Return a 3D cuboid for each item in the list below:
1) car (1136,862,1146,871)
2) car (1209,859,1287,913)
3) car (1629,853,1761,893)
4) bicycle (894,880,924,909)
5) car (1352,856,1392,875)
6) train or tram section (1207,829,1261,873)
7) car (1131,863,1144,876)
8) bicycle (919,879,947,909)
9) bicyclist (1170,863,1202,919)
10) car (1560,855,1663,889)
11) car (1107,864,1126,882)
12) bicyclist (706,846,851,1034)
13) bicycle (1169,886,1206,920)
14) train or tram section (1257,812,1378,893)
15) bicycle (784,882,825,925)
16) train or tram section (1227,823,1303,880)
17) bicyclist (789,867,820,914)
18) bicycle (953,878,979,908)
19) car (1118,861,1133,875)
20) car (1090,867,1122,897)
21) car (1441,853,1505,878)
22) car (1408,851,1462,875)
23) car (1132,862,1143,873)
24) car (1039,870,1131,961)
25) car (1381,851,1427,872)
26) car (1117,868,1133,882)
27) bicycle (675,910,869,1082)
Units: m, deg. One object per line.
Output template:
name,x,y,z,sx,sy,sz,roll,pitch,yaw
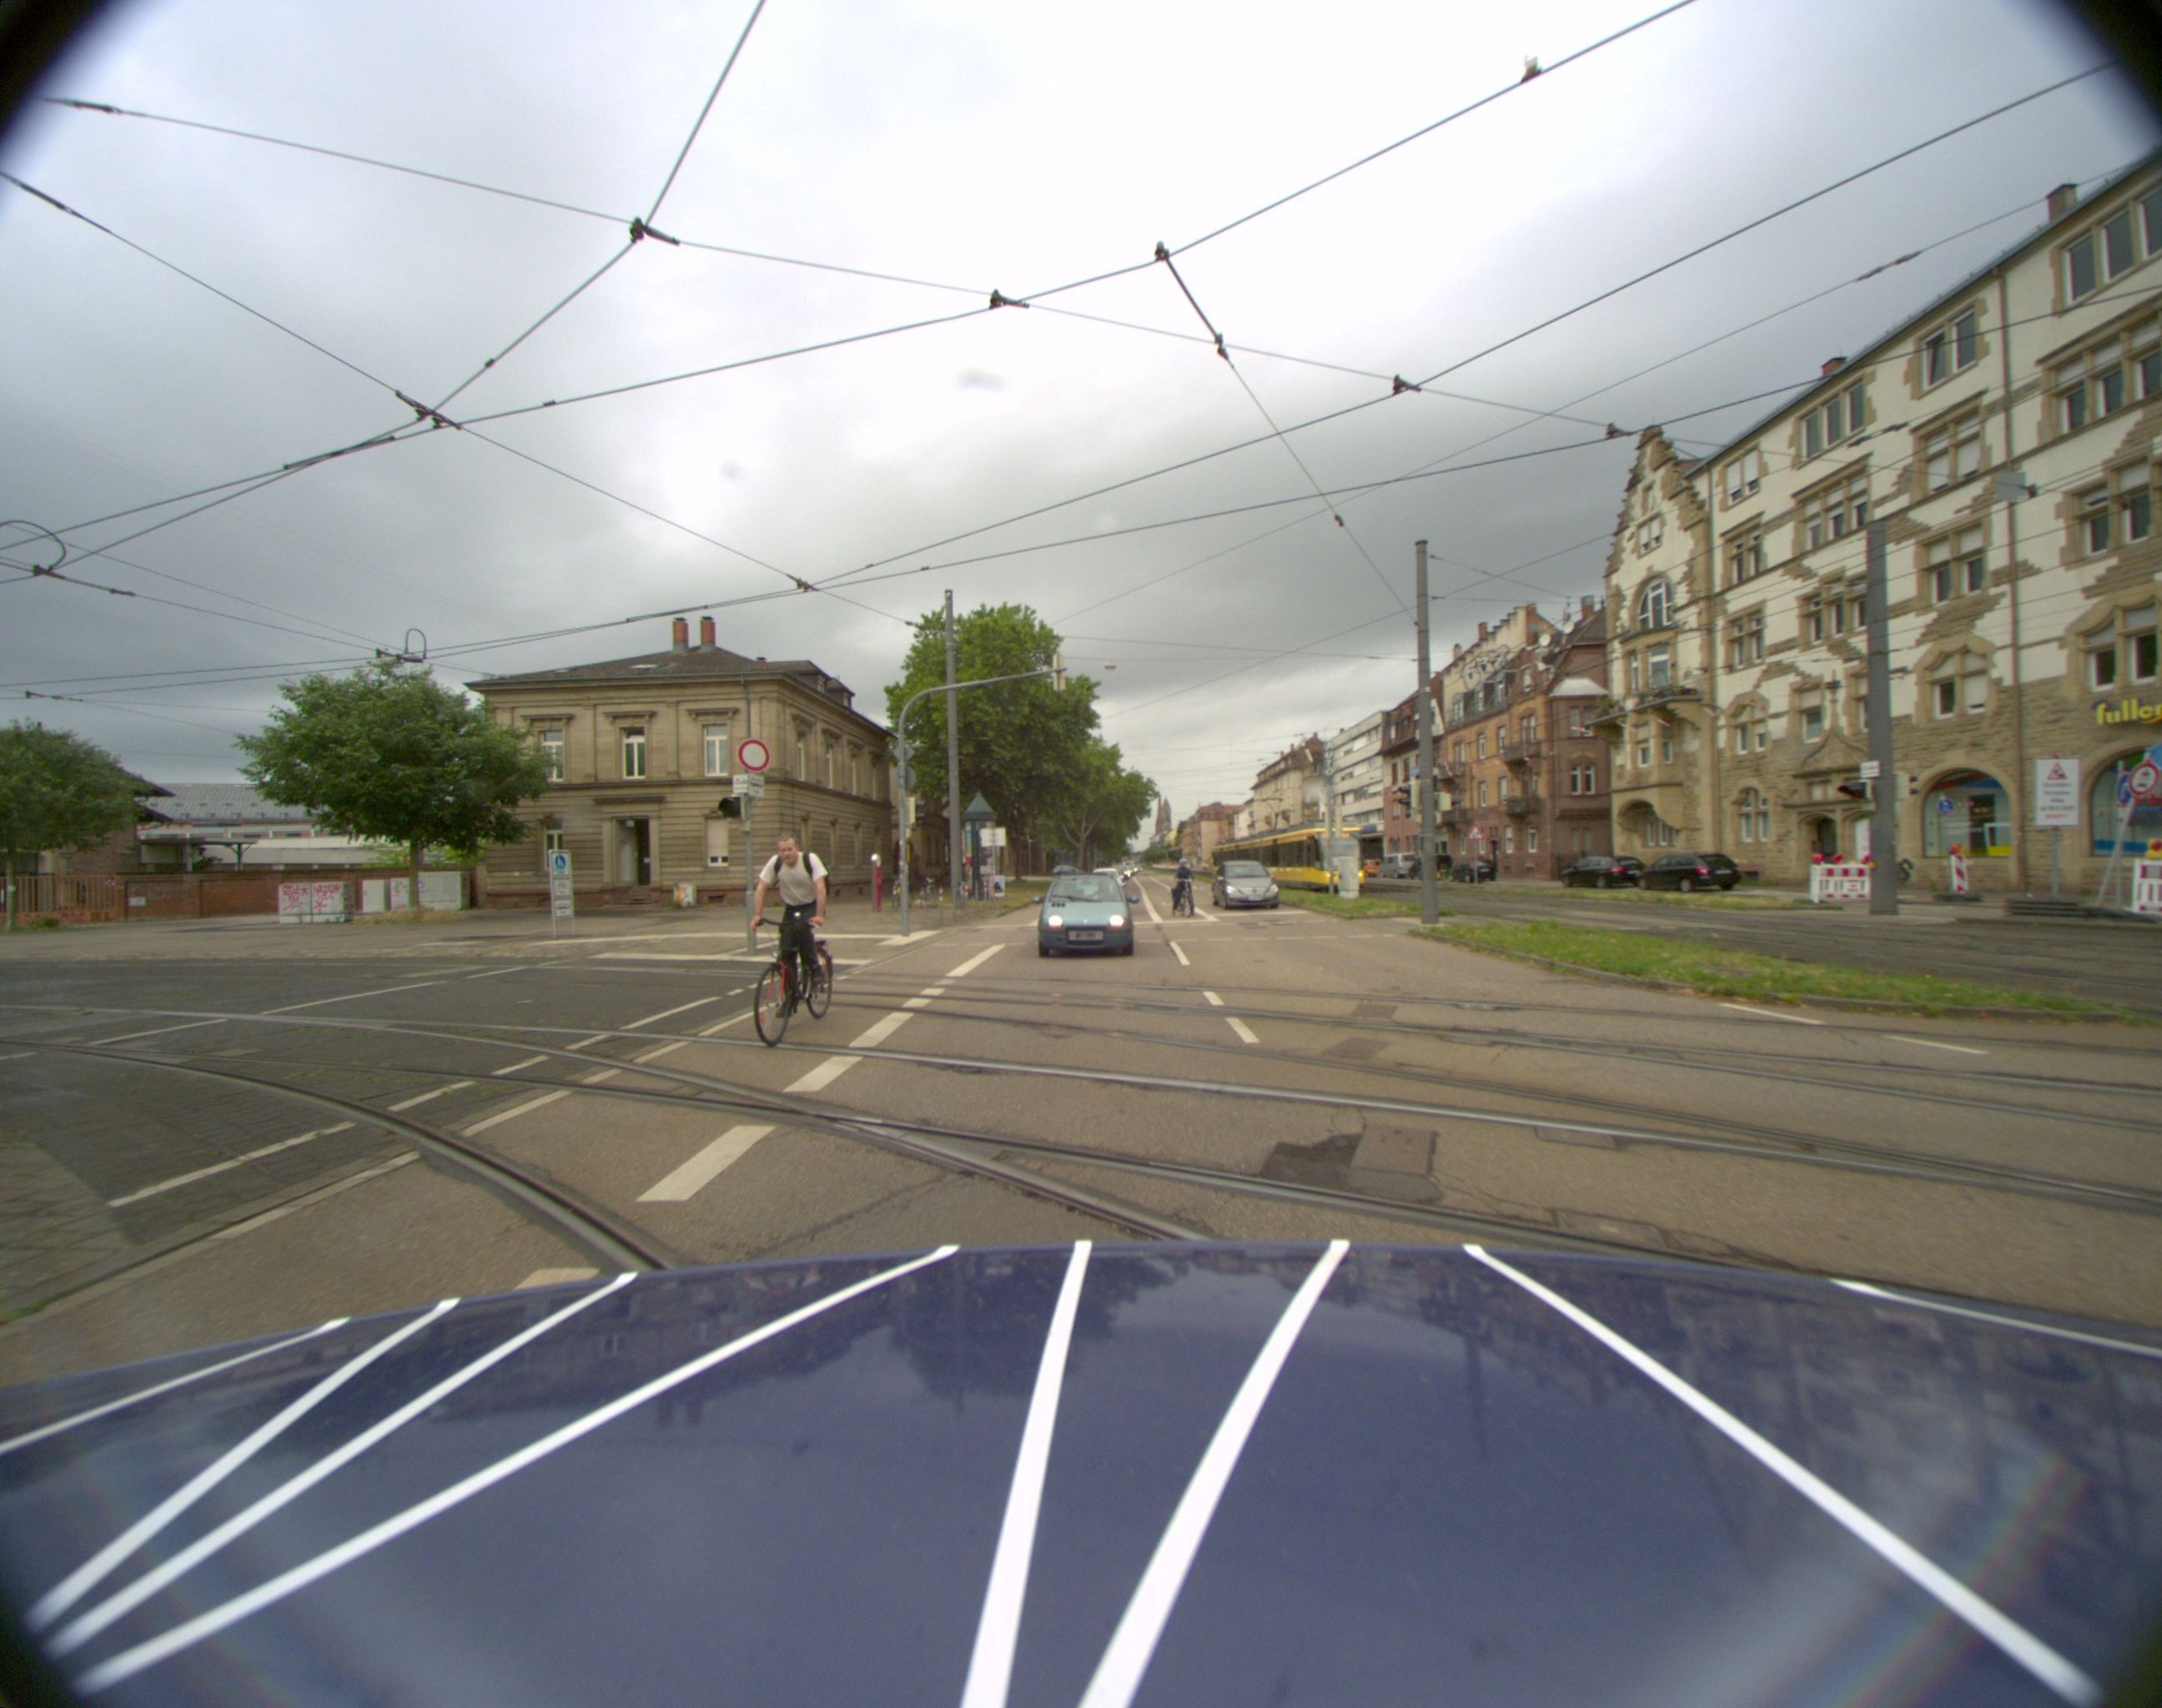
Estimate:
car,14.135,2.939,179.900,1.998,2.002,4.000,-1,0,1
car,5.632,1.035,26.028,1.868,1.630,3.775,-1,0,1
car,24.234,0.714,30.190,1.998,1.433,4.000,-1,0,0
bicycle,-6.823,1.587,30.202,0.718,1.062,1.699,-1,0,1
car,25.854,0.963,67.697,1.998,1.586,4.000,-1,0,0
train or tram section,13.221,-0.255,66.767,2.651,3.417,13.621,-1,0,3
car,9.866,2.725,133.326,1.998,2.002,4.000,-1,0,1
bicycle,-5.846,1.562,30.129,0.718,1.062,1.699,-1,0,1
bicyclist,3.113,1.092,22.562,0.811,1.586,0.891,-1,-1,1
car,24.481,0.774,35.250,1.998,1.433,4.000,-1,0,0
car,3.068,1.597,65.139,1.534,1.464,3.354,0,0,4
bicyclist,-2.763,0.732,7.082,0.812,1.591,1.190,-1,1,1
bicycle,3.130,1.423,22.578,0.811,0.939,2.147,-1,-2,1
train or tram section,11.778,-0.094,39.582,2.651,3.417,13.621,-1,0,3
bicycle,-8.603,1.515,23.727,0.677,1.158,2.113,-1,0,-6
train or tram section,12.533,-0.171,53.152,2.651,3.417,13.621,-1,0,3
bicyclist,-8.600,1.128,23.625,0.694,1.392,0.816,-1,1,-7
bicycle,-4.527,1.534,30.093,0.718,1.062,1.699,-1,0,1
car,4.920,1.492,83.969,1.534,1.464,3.354,0,0,4
car,1.386,1.487,40.854,1.534,1.464,3.354,0,0,4
car,24.924,0.707,48.417,1.998,1.433,4.000,-1,0,0
car,25.220,0.598,54.310,1.998,1.586,4.000,-1,0,0
car,11.713,2.765,157.528,1.998,2.002,4.000,-1,0,1
car,0.182,1.087,14.689,1.534,1.464,3.354,0,0,4
car,25.837,0.556,60.881,1.998,1.586,4.000,-1,0,0
car,4.471,2.139,77.180,1.546,1.336,3.797,-2,0,2
bicycle,-2.756,1.208,7.126,0.814,1.163,2.277,-1,0,1
